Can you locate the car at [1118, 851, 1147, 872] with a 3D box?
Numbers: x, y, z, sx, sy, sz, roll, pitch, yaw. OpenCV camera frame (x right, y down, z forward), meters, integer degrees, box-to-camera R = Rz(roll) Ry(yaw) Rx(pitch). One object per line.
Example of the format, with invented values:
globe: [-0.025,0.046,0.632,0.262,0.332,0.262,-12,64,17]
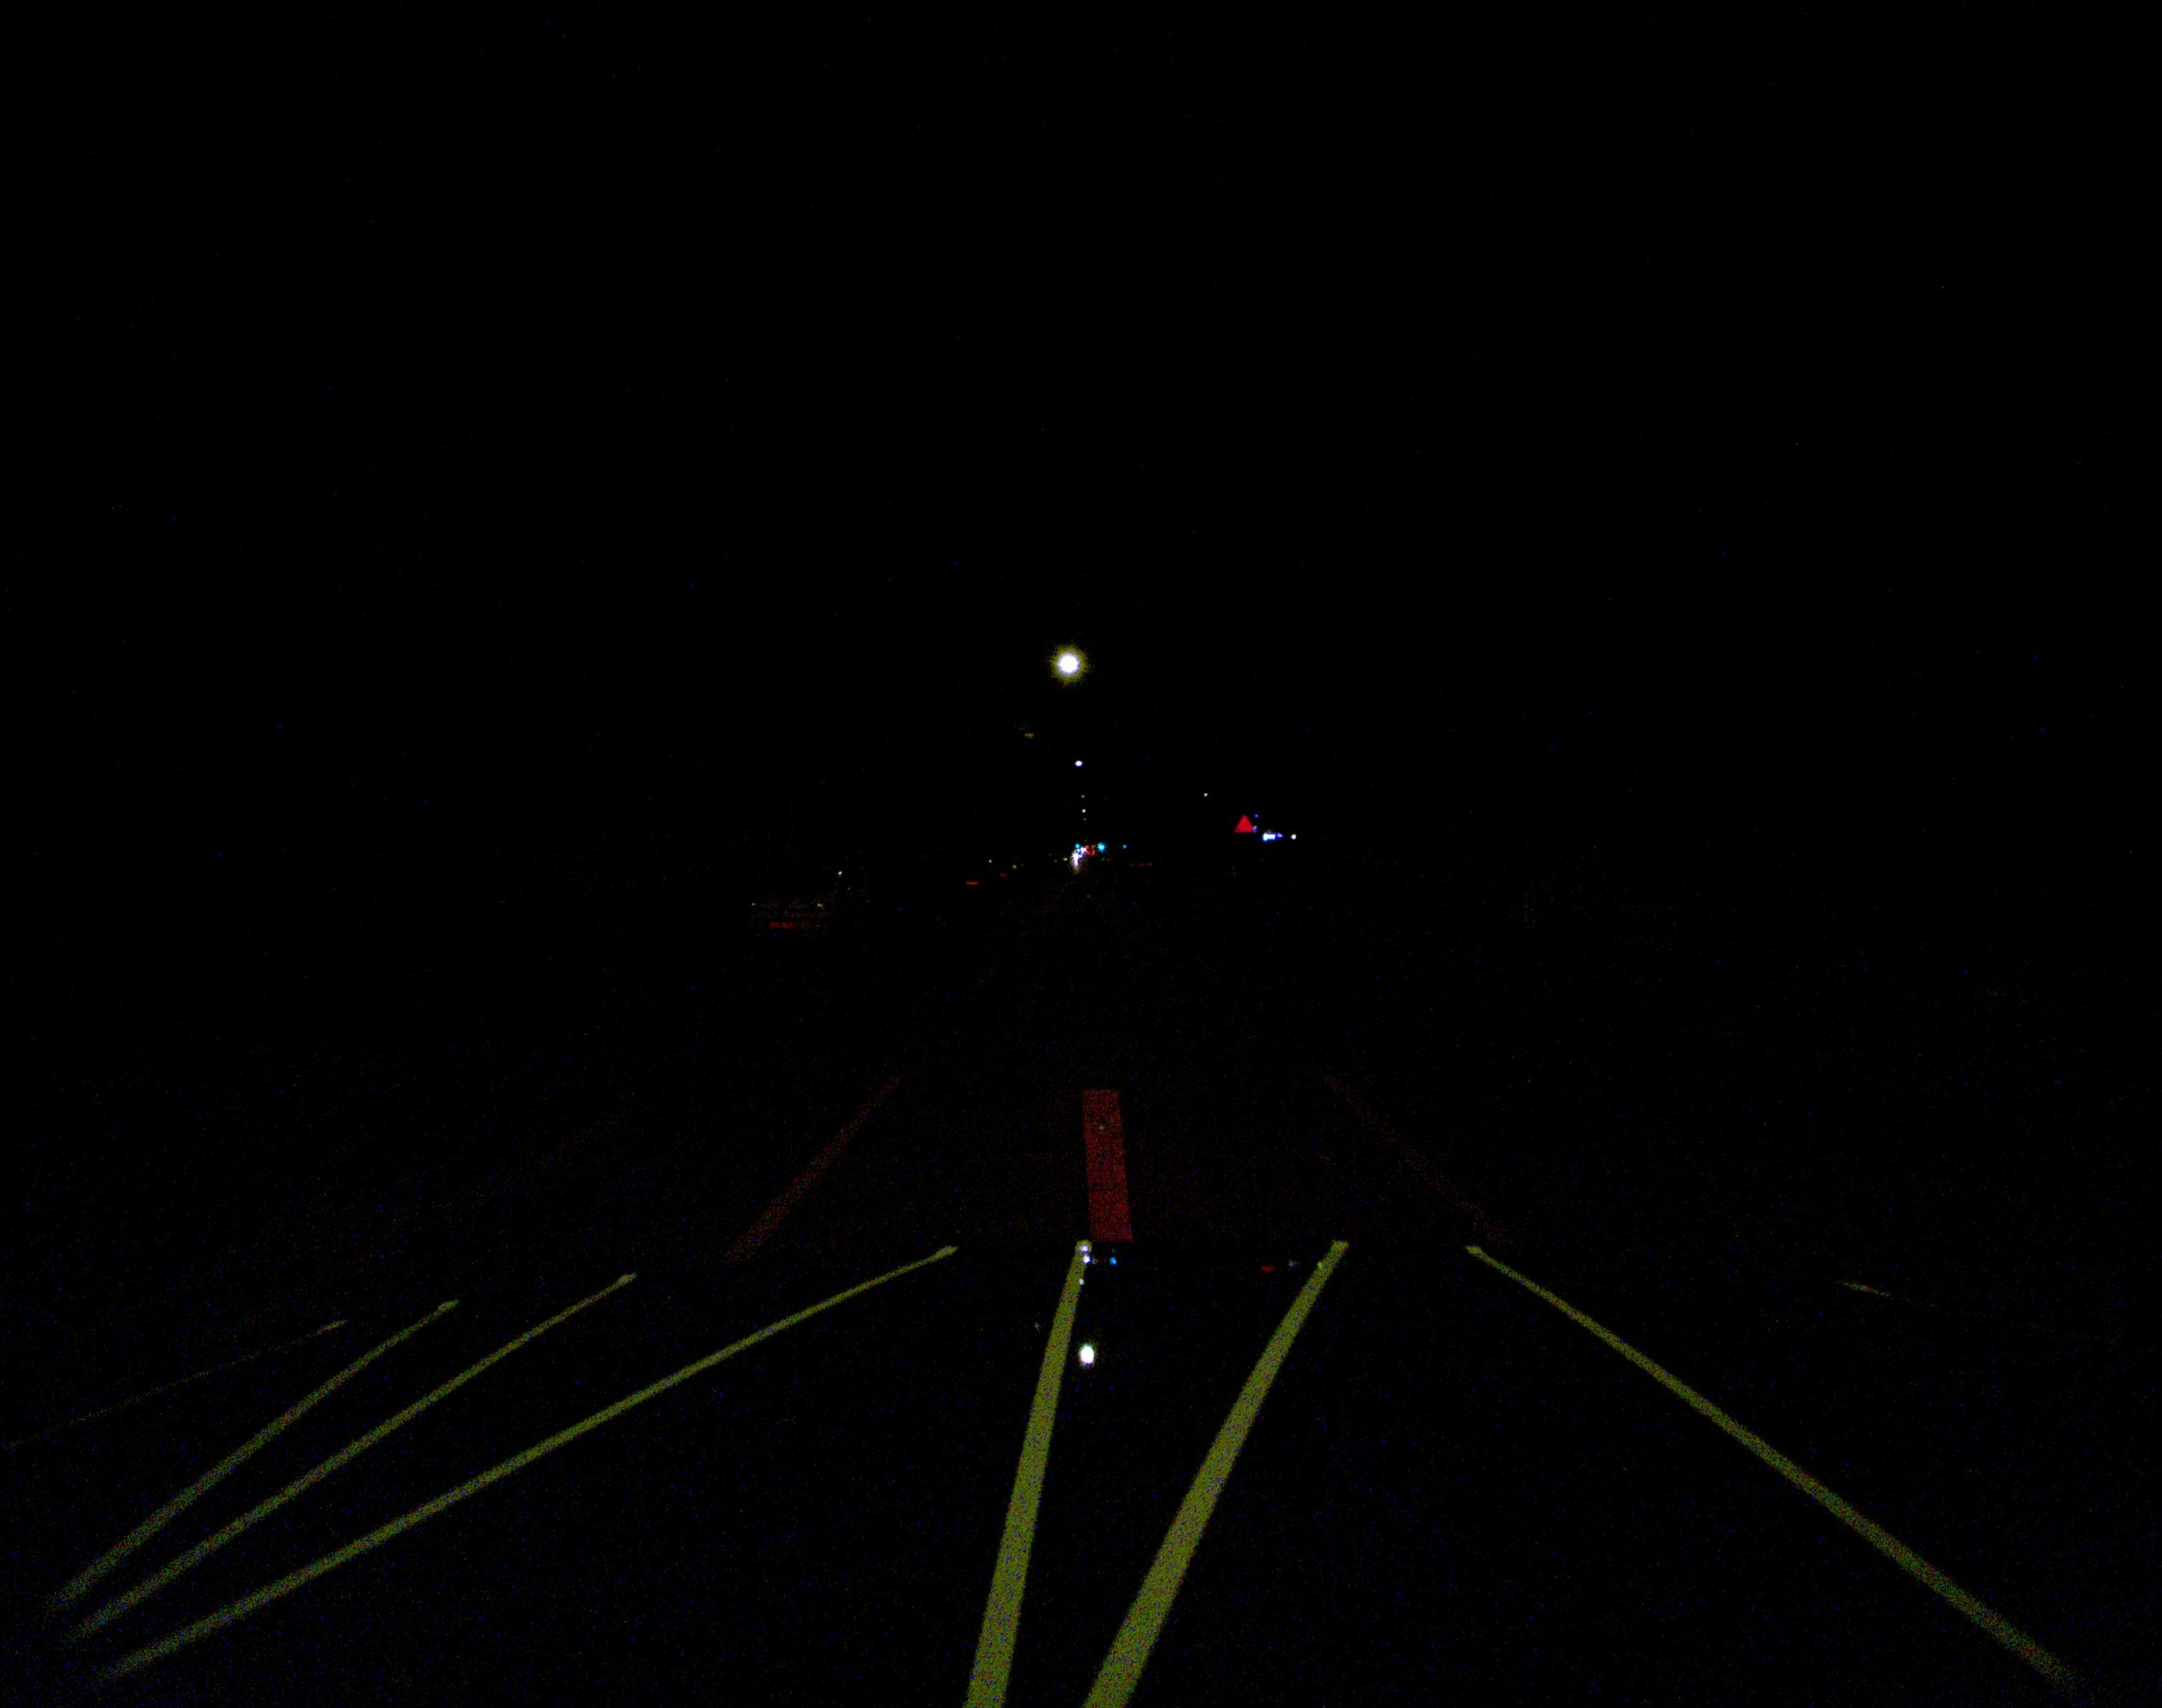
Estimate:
car: [3.891,0.560,57.841,1.864,1.458,3.896,-4,0,-1]

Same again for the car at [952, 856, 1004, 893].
car: [-4.569,0.870,34.284,1.865,1.544,4.044,0,0,-1]

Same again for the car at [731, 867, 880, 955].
car: [-5.336,1.030,15.198,1.672,1.476,3.603,0,0,0]

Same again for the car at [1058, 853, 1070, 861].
car: [-2.985,0.567,134.796,1.874,1.407,3.999,-2,0,0]

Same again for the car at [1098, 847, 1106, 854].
car: [4.997,-0.760,180.310,1.873,1.551,4.353,-2,0,1]

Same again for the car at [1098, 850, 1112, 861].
car: [3.726,0.207,119.491,1.874,1.635,3.999,-2,0,-3]

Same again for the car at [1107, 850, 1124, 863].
car: [4.722,0.356,105.121,1.874,1.635,3.999,-2,0,-3]

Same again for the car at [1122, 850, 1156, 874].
car: [3.969,0.517,52.326,1.864,1.524,4.587,-4,0,-1]

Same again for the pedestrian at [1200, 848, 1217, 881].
pedestrian: [6.688,0.540,39.876,0.670,1.716,0.866,-2,1,-2]

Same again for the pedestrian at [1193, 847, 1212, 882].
pedestrian: [5.921,0.491,36.951,0.744,1.662,1.103,-2,1,3]

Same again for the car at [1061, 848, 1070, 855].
car: [-3.329,-0.595,163.335,1.874,1.407,3.999,-2,0,0]

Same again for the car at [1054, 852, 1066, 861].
car: [-3.581,0.393,128.645,1.874,1.407,3.999,-2,0,0]

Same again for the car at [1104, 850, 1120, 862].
car: [4.439,0.297,110.060,1.874,1.635,3.999,-2,0,-3]

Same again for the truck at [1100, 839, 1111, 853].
truck: [4.964,-1.625,155.504,2.084,2.562,6.873,-2,0,1]

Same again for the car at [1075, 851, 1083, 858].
car: [-0.426,0.091,186.347,1.874,1.635,3.999,-2,0,0]

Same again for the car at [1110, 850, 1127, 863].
car: [4.964,0.328,100.866,1.874,1.635,3.999,-2,0,-3]

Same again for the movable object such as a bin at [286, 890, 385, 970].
movable object such as a bin: [-10.620,1.071,10.844,0.609,1.042,0.755,-2,1,1]

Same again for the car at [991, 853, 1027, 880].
car: [-4.453,0.770,47.806,1.742,1.588,4.359,0,0,1]

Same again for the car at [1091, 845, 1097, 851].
car: [4.252,-1.928,245.133,1.873,1.635,4.000,-2,0,1]

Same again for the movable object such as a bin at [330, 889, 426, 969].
movable object such as a bin: [-9.982,1.052,10.812,0.609,1.042,0.755,-2,1,1]
